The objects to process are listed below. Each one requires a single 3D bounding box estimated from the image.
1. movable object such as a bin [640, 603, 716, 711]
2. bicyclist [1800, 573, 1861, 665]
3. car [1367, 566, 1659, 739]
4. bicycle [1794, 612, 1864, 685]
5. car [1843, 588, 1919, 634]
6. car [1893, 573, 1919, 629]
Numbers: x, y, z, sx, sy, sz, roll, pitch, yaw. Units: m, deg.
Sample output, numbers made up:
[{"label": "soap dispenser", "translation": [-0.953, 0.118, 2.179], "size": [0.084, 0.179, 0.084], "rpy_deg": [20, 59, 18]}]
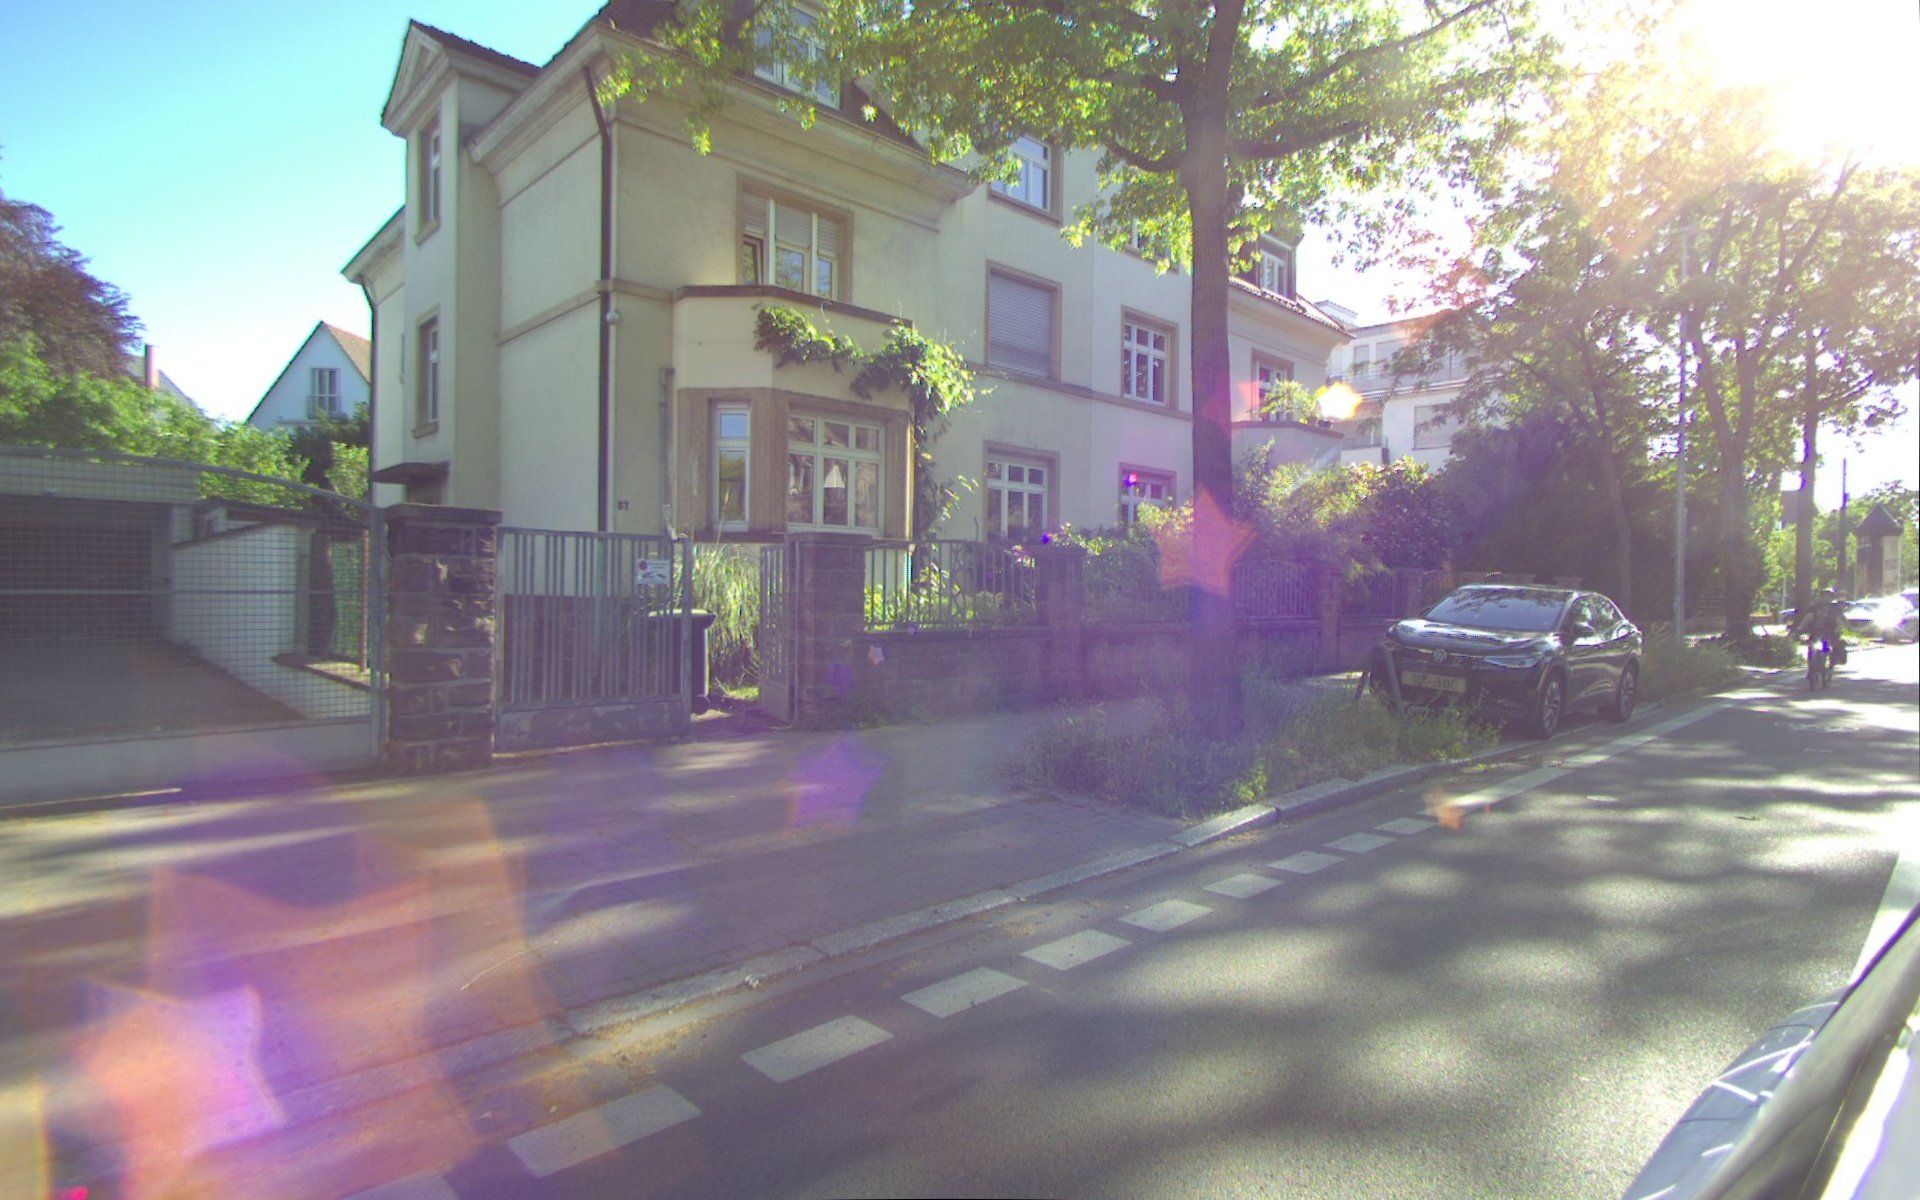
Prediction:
[{"label": "movable object such as a bin", "translation": [-3.036, 0.576, 10.840], "size": [0.697, 1.070, 1.093], "rpy_deg": [0, 0, -20]}, {"label": "bicyclist", "translation": [14.899, 0.309, 17.316], "size": [1.095, 1.506, 0.622], "rpy_deg": [0, 0, -41]}, {"label": "car", "translation": [6.685, 0.494, 12.054], "size": [4.021, 1.626, 1.743], "rpy_deg": [0, 4, -42]}, {"label": "bicycle", "translation": [14.873, 0.803, 17.301], "size": [1.783, 1.158, 0.644], "rpy_deg": [0, 0, -41]}, {"label": "car", "translation": [31.559, 0.334, 34.422], "size": [3.930, 1.469, 1.785], "rpy_deg": [0, 1, -41]}, {"label": "car", "translation": [36.794, 0.046, 38.083], "size": [4.503, 2.039, 1.997], "rpy_deg": [0, 1, -41]}]
